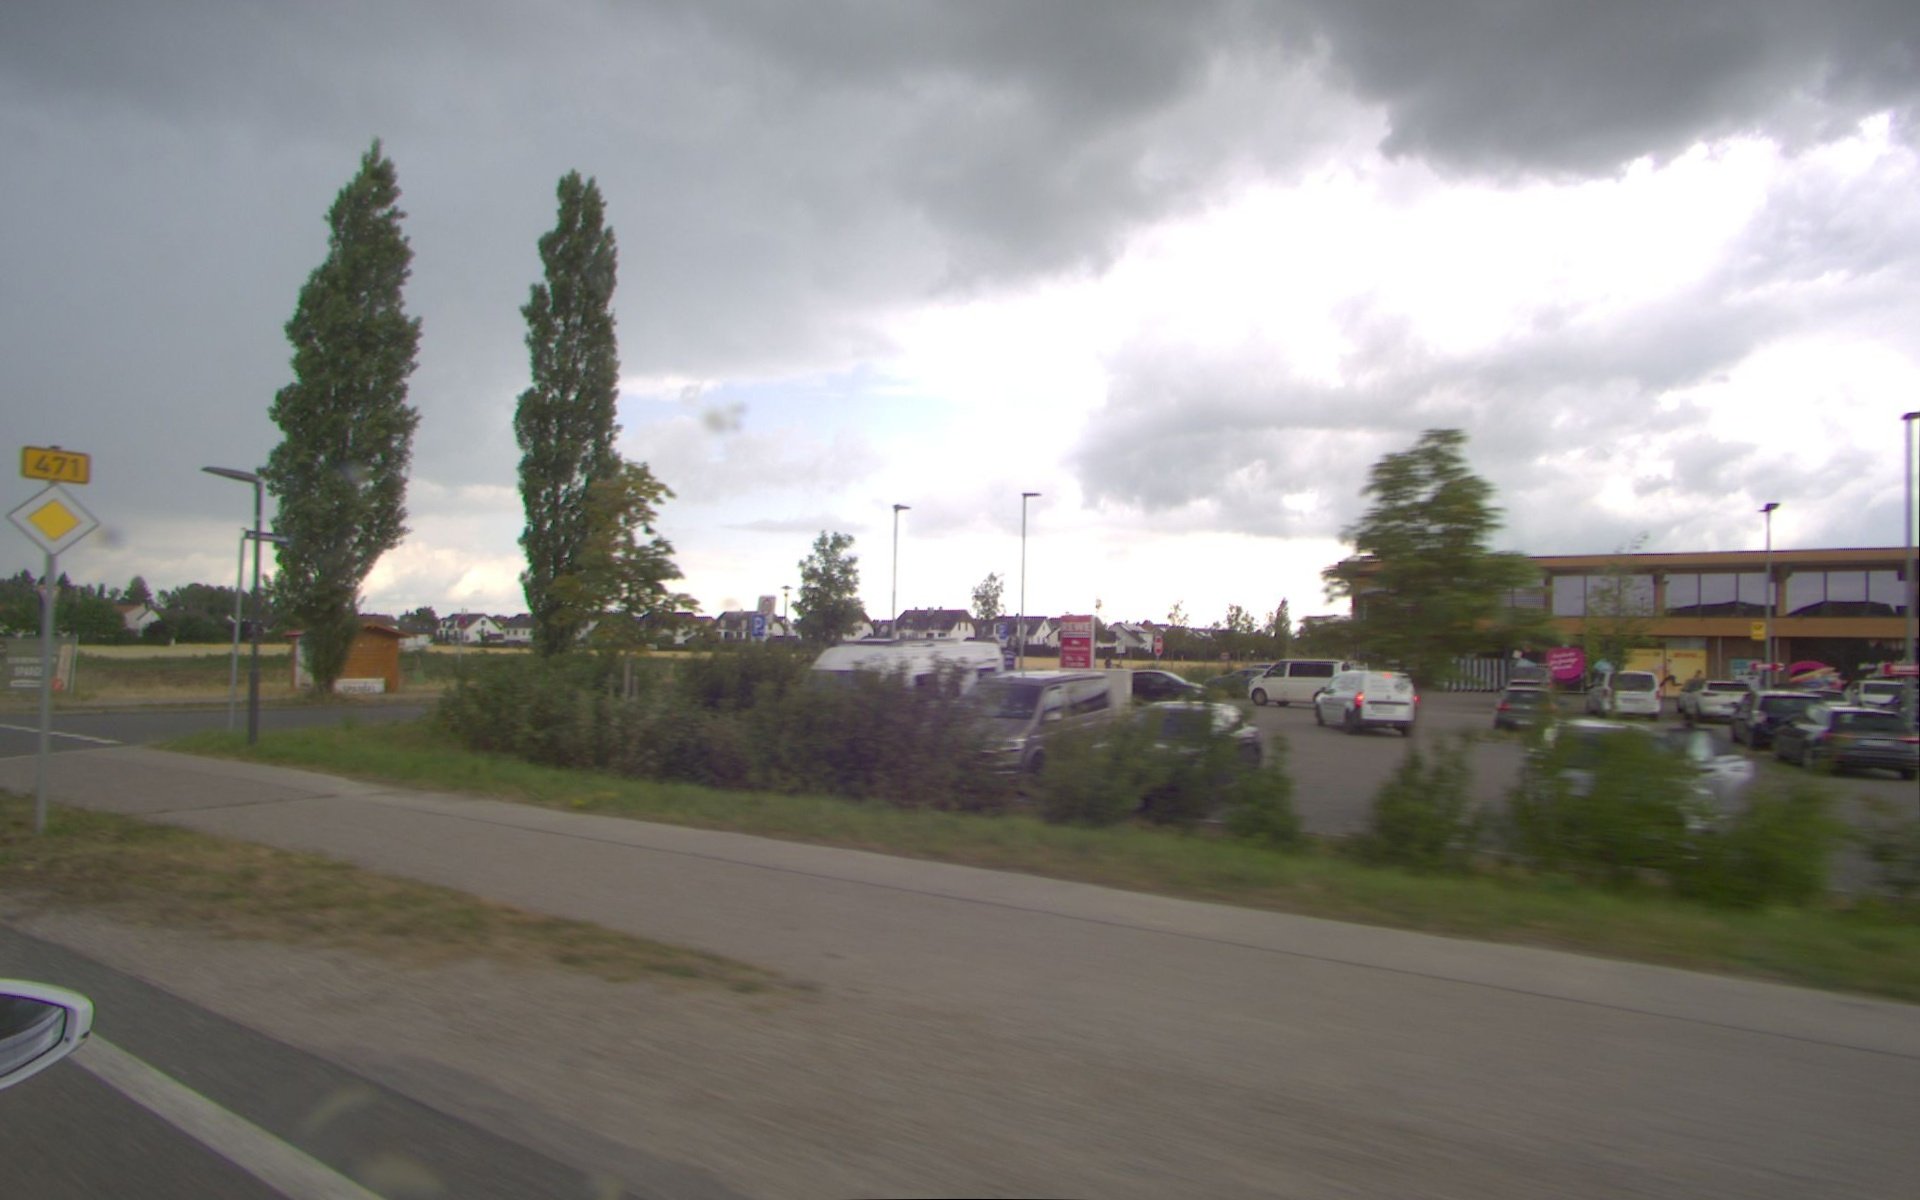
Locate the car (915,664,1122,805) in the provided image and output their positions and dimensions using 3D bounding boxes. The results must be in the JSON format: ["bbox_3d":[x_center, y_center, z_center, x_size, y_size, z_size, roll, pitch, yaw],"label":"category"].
[{"bbox_3d":[1.233,2.309,18.468,1.970,2.040,4.587,0,-1,30],"label":"car"}]

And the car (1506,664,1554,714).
[{"bbox_3d":[26.440,4.067,46.434,1.824,2.036,4.212,0,-1,30],"label":"car"}]

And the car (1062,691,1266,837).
[{"bbox_3d":[3.511,2.484,16.355,1.732,1.618,5.089,0,-1,30],"label":"car"}]

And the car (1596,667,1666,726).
[{"bbox_3d":[25.861,3.667,38.708,2.008,1.936,3.888,0,-1,30],"label":"car"}]

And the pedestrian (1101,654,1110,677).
[{"bbox_3d":[11.362,5.118,78.107,0.591,1.784,0.481,0,0,32],"label":"pedestrian"}]

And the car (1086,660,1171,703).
[{"bbox_3d":[8.858,4.262,52.690,3.943,2.040,1.990,0,-1,32],"label":"car"}]

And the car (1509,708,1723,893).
[{"bbox_3d":[8.491,2.439,13.257,2.049,1.618,4.141,0,-1,30],"label":"car"}]

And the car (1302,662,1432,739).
[{"bbox_3d":[12.144,2.933,30.262,2.069,1.931,4.944,0,-1,2],"label":"car"}]

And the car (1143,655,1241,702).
[{"bbox_3d":[11.181,3.748,48.369,4.227,2.040,1.989,0,-1,34],"label":"car"}]

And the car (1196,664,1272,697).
[{"bbox_3d":[14.437,4.195,52.772,3.528,1.527,1.742,0,-1,32],"label":"car"}]

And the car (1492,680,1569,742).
[{"bbox_3d":[16.988,3.232,29.816,1.874,1.451,4.172,0,-1,30],"label":"car"}]

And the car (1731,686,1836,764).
[{"bbox_3d":[22.102,3.278,27.008,1.974,1.639,3.974,0,-1,37],"label":"car"}]

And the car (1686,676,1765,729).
[{"bbox_3d":[28.592,3.794,37.526,2.010,1.628,3.730,0,-1,32],"label":"car"}]

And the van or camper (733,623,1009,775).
[{"bbox_3d":[-1.464,1.724,20.020,2.247,2.496,6.459,0,-1,30],"label":"van or camper"}]

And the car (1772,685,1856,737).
[{"bbox_3d":[30.654,3.940,36.034,1.768,1.496,3.730,0,-1,32],"label":"car"}]

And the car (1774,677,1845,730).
[{"bbox_3d":[34.210,4.103,40.404,1.920,1.772,3.974,0,-1,36],"label":"car"}]

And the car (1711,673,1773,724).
[{"bbox_3d":[32.237,4.009,41.376,1.920,1.772,3.974,0,-1,36],"label":"car"}]

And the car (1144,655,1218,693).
[{"bbox_3d":[13.275,4.431,60.258,3.943,2.040,1.990,0,-1,32],"label":"car"}]

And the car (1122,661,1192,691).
[{"bbox_3d":[11.103,4.258,56.445,3.528,1.527,1.742,0,-1,32],"label":"car"}]

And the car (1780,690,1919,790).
[{"bbox_3d":[19.027,2.882,21.302,1.972,1.639,3.979,0,-1,32],"label":"car"}]

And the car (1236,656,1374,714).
[{"bbox_3d":[14.141,3.443,41.380,1.976,2.040,5.194,1,-1,-37],"label":"car"}]

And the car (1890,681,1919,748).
[{"bbox_3d":[33.712,3.954,34.521,1.974,2.040,3.974,0,-1,37],"label":"car"}]

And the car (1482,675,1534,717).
[{"bbox_3d":[22.169,3.856,40.479,1.748,1.400,3.457,0,-1,30],"label":"car"}]

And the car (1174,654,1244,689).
[{"bbox_3d":[15.804,4.505,63.535,3.943,2.040,1.990,0,-1,32],"label":"car"}]

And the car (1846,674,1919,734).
[{"bbox_3d":[36.659,4.058,39.693,1.974,2.040,3.974,0,-1,37],"label":"car"}]
